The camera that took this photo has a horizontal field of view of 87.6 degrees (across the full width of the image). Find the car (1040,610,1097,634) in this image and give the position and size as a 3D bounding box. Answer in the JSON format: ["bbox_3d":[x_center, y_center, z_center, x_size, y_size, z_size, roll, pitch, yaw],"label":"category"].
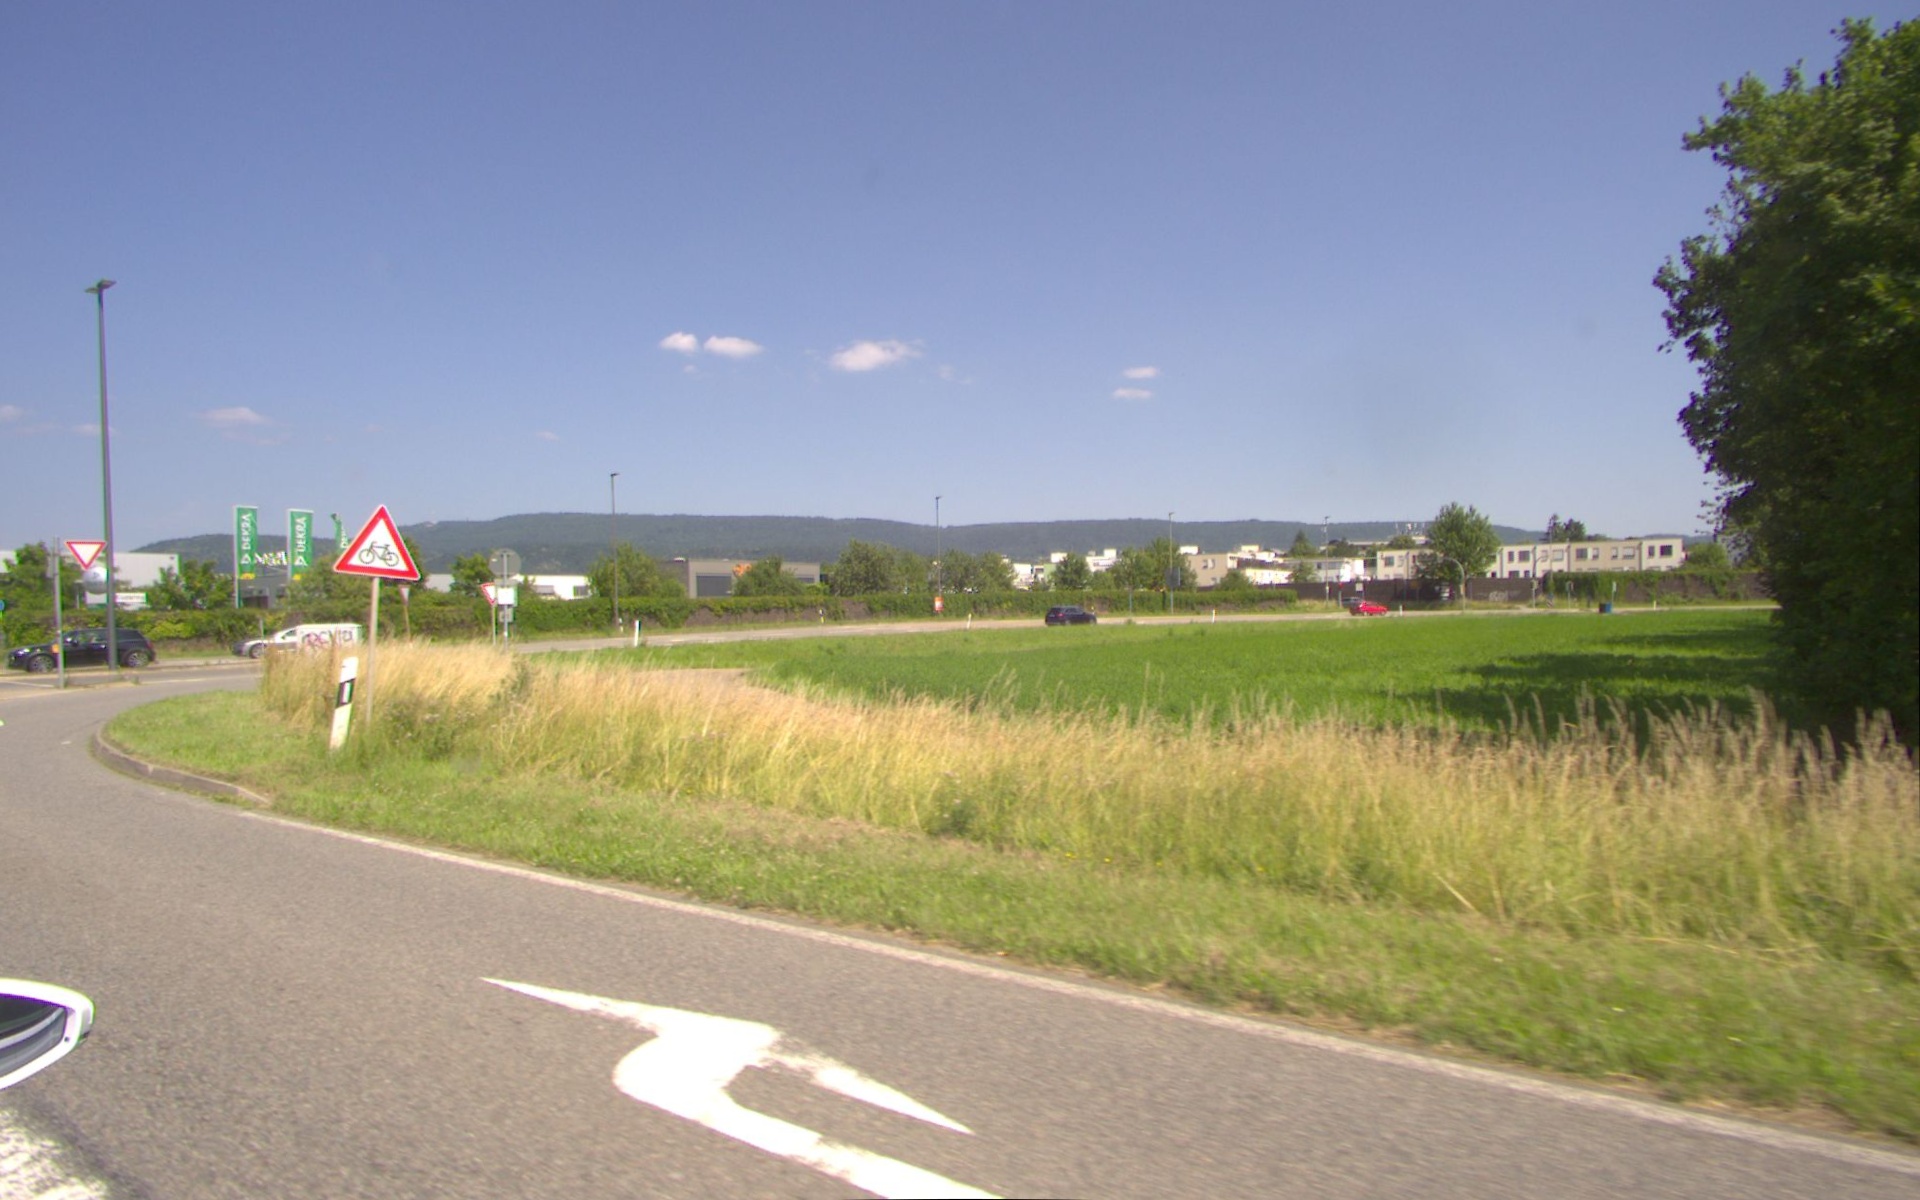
[{"bbox_3d":[8.169,1.648,75.150,4.297,1.638,1.980,-1,0,-45],"label":"car"}]

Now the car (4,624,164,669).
[{"bbox_3d":[-29.854,1.542,34.214,1.787,1.344,3.964,-1,0,43],"label":"car"}]

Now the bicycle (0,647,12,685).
[{"bbox_3d":[-25.381,1.693,25.759,2.740,0.927,0.760,-1,0,32],"label":"bicycle"}]

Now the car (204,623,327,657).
[{"bbox_3d":[-30.774,1.739,44.453,4.331,1.344,1.790,-1,0,-42],"label":"car"}]

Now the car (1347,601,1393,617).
[{"bbox_3d":[41.210,0.893,100.653,3.926,1.567,1.773,-1,0,-13],"label":"car"}]
